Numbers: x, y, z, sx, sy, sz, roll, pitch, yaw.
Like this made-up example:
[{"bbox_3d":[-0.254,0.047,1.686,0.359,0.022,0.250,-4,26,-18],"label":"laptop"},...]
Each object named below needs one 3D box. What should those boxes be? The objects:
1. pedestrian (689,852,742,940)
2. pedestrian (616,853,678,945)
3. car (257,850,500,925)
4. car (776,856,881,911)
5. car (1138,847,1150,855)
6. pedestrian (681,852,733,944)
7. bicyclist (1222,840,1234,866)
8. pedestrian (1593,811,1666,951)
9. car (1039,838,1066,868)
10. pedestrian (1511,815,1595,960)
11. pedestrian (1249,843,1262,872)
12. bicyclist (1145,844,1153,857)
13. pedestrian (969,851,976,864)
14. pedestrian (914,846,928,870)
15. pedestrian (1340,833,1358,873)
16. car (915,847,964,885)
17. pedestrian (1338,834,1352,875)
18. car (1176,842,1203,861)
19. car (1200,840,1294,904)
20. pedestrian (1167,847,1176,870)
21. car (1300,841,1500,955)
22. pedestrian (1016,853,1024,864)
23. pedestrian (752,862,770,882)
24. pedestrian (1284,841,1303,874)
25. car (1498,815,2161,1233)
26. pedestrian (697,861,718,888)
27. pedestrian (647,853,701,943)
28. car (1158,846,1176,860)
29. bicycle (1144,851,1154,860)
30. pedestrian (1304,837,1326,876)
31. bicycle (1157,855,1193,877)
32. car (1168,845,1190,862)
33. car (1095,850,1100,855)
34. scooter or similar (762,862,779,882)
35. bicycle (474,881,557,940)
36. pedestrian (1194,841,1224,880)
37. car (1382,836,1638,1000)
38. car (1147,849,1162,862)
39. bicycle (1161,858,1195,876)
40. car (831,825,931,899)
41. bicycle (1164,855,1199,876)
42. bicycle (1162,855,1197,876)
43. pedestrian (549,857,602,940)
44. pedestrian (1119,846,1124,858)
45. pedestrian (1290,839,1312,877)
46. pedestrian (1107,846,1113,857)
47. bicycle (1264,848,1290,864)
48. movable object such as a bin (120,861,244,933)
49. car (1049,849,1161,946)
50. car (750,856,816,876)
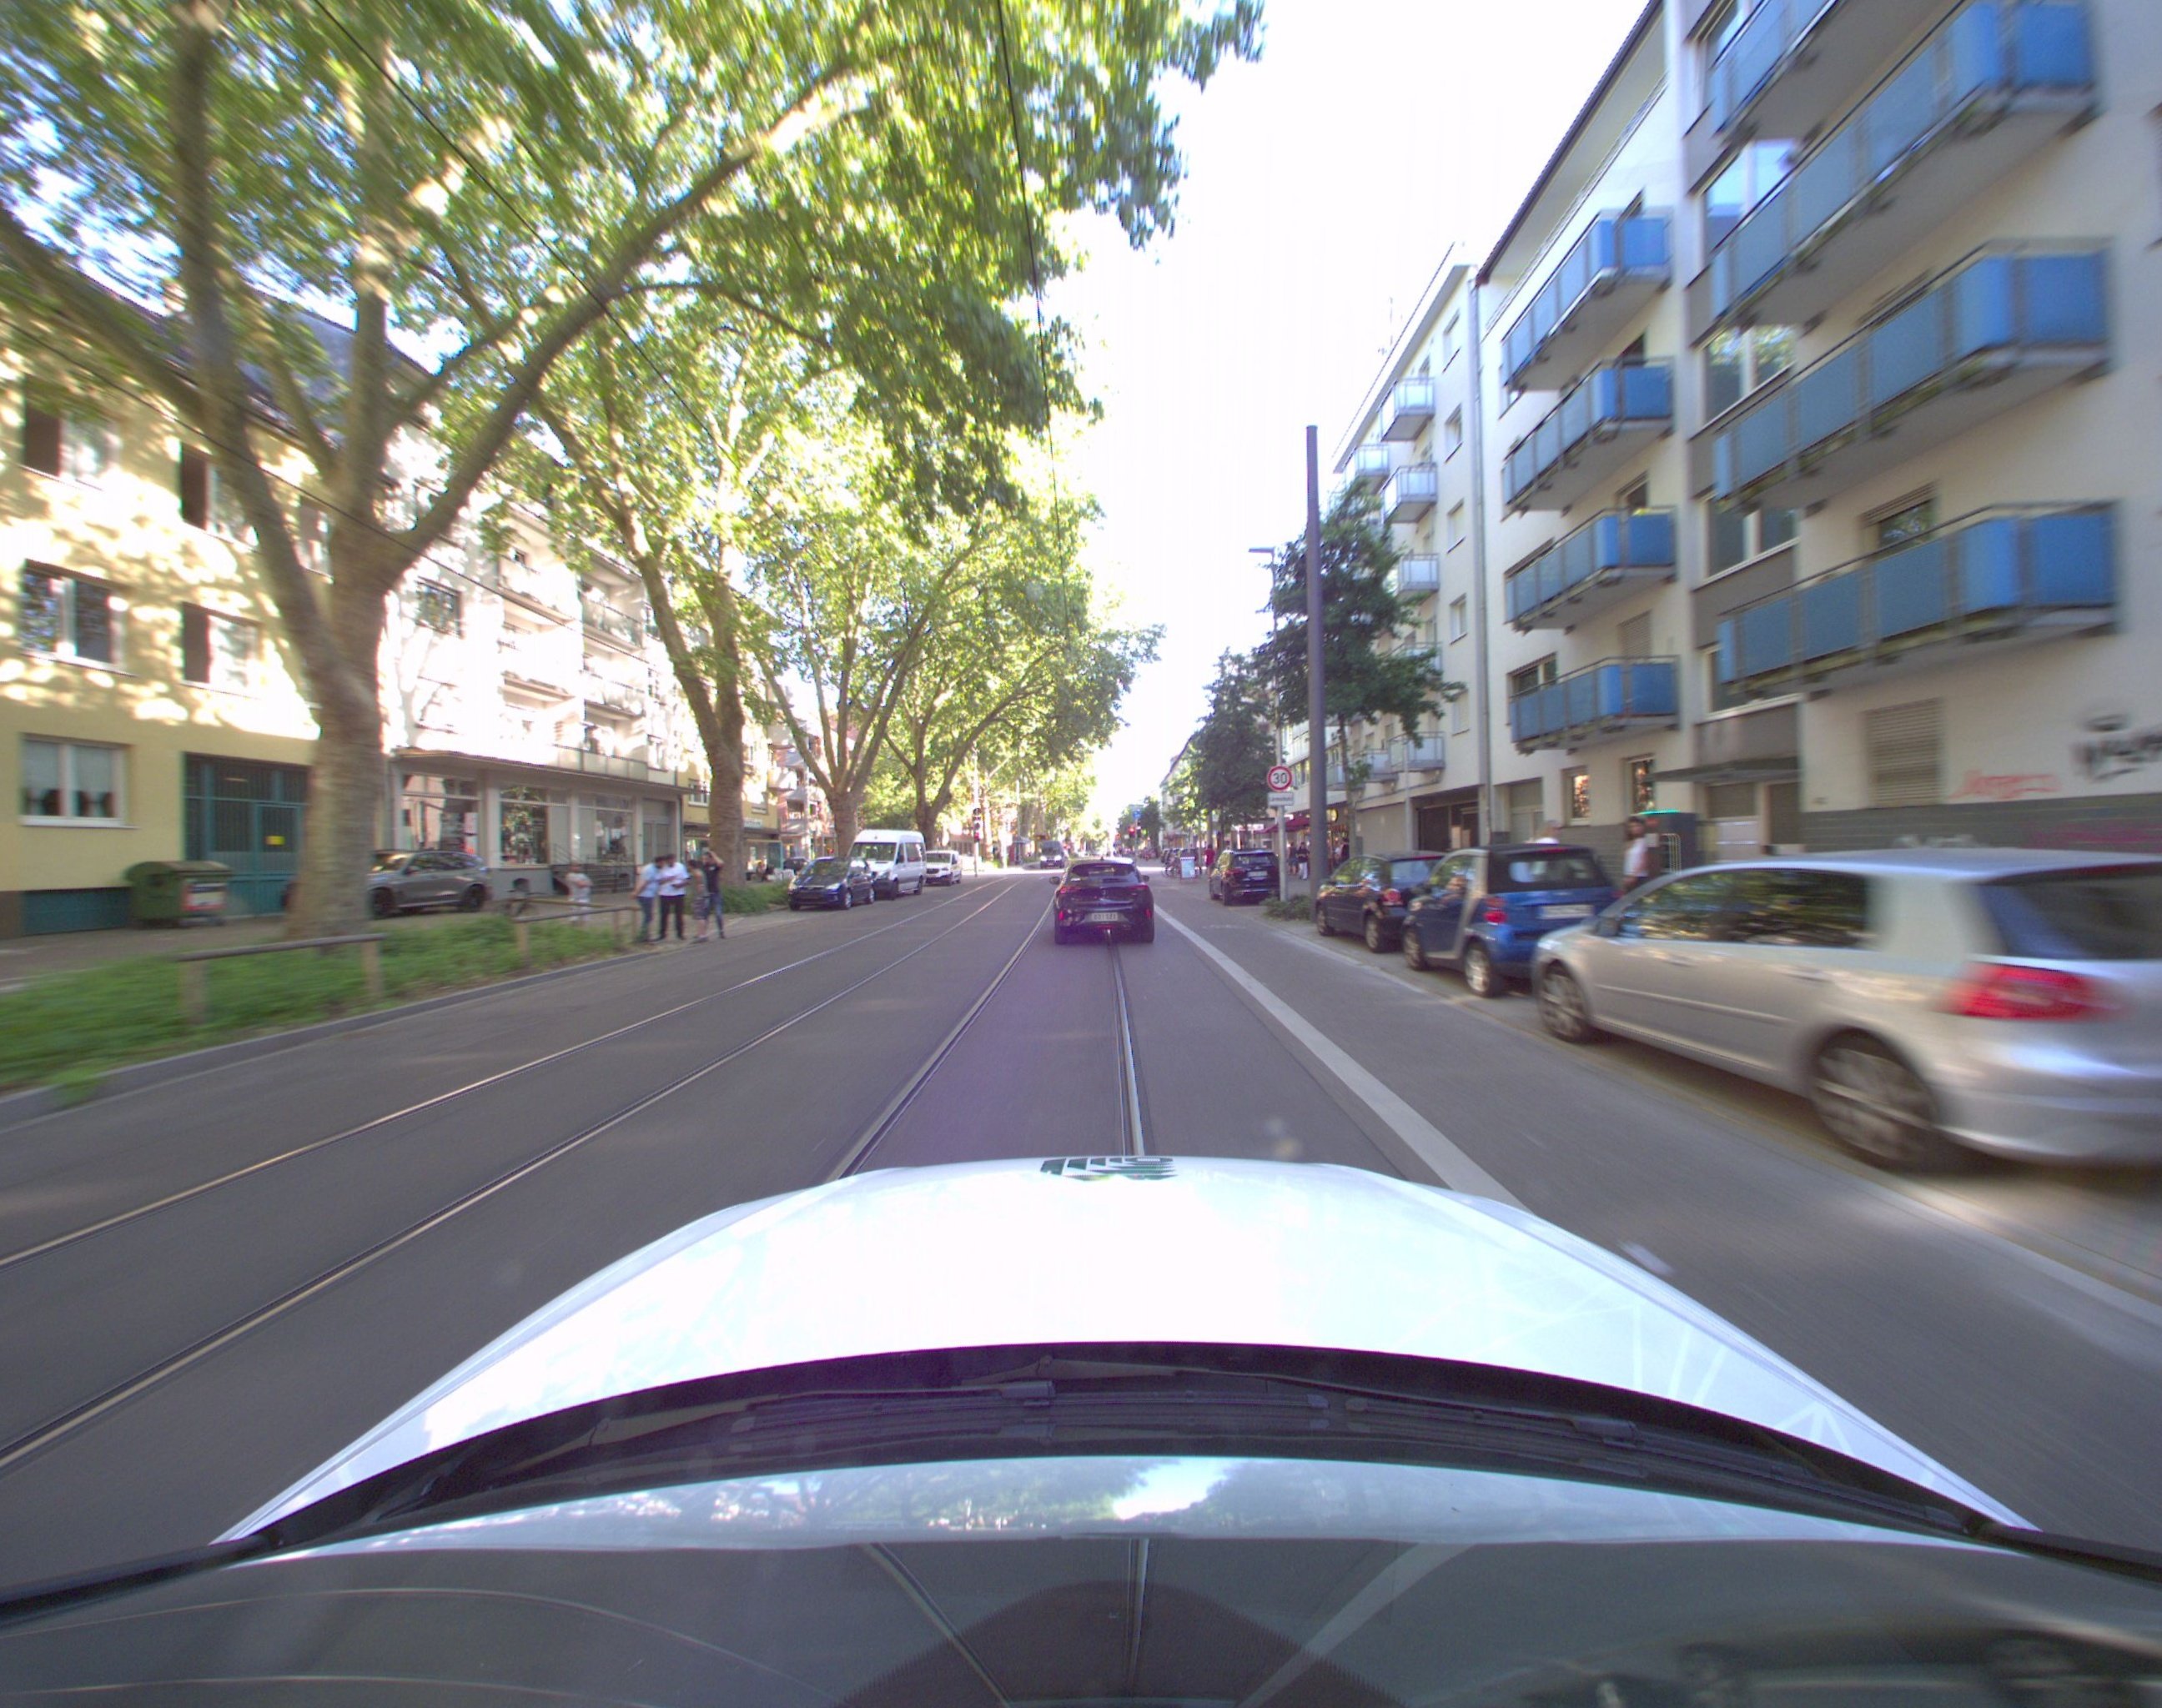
[{"bbox_3d":[-7.526,0.847,16.802,0.709,1.777,0.771,-1,0,1],"label":"pedestrian"},{"bbox_3d":[-8.353,0.853,15.703,0.764,1.735,0.718,-1,0,5],"label":"pedestrian"},{"bbox_3d":[-18.088,0.784,21.376,1.986,1.733,4.900,-1,0,2],"label":"car"},{"bbox_3d":[-7.891,0.865,25.865,1.910,1.562,4.284,-1,0,1],"label":"car"},{"bbox_3d":[11.573,-0.556,149.453,1.986,1.486,4.002,-1,0,2],"label":"car"},{"bbox_3d":[-7.288,0.841,15.893,0.769,1.735,0.711,-1,-1,-12],"label":"pedestrian"},{"bbox_3d":[9.897,-0.062,54.900,0.674,1.717,0.966,-1,0,4],"label":"bicyclist"},{"bbox_3d":[7.485,0.357,11.131,0.535,1.852,0.665,-1,0,4],"label":"pedestrian"},{"bbox_3d":[-2.700,-0.095,78.879,2.106,2.738,6.117,-2,0,2],"label":"car"},{"bbox_3d":[6.328,0.437,10.940,0.475,1.851,0.662,-7,0,-9],"label":"pedestrian"},{"bbox_3d":[11.064,0.219,51.730,0.588,1.784,0.995,-1,0,0],"label":"pedestrian"},{"bbox_3d":[8.799,-0.440,105.759,0.859,1.759,1.052,-1,0,-5],"label":"bicyclist"},{"bbox_3d":[-13.341,0.441,100.233,0.732,1.672,0.861,-1,0,2],"label":"pedestrian"},{"bbox_3d":[-12.967,0.316,66.098,0.921,1.835,0.920,-1,2,-2],"label":"pedestrian"},{"bbox_3d":[12.261,-0.041,37.259,0.520,1.805,0.635,-1,-1,45],"label":"pedestrian"},{"bbox_3d":[-7.319,0.591,42.492,1.757,1.850,4.317,-1,0,0],"label":"car"},{"bbox_3d":[11.710,0.011,36.152,0.430,1.796,0.489,-1,-1,0],"label":"pedestrian"},{"bbox_3d":[9.675,-0.204,72.867,1.986,1.615,4.447,-2,0,2],"label":"car"},{"bbox_3d":[4.781,0.484,24.084,1.753,1.587,4.327,-5,0,-1],"label":"car"},{"bbox_3d":[6.211,0.330,55.836,0.548,1.562,0.646,-1,-1,6],"label":"pedestrian"},{"bbox_3d":[4.981,0.596,13.305,1.618,1.481,3.888,-4,0,-1],"label":"car"},{"bbox_3d":[-6.334,0.462,84.125,0.703,1.168,0.659,-3,0,-2],"label":"pedestrian"},{"bbox_3d":[-18.633,1.054,47.419,0.636,1.167,0.679,-1,-1,28],"label":"pedestrian"},{"bbox_3d":[10.908,0.166,41.785,0.677,1.659,0.812,-1,0,-9],"label":"pedestrian"},{"bbox_3d":[4.620,0.621,5.205,1.780,1.537,4.129,-4,0,1],"label":"car"},{"bbox_3d":[-18.362,1.000,40.040,0.667,1.272,0.648,-1,-1,24],"label":"pedestrian"},{"bbox_3d":[-8.095,0.851,16.197,0.761,1.735,0.718,-1,-1,43],"label":"pedestrian"},{"bbox_3d":[10.134,-0.100,96.081,1.850,1.615,4.400,-1,0,2],"label":"car"},{"bbox_3d":[8.807,0.237,105.702,0.859,1.136,2.392,-1,0,-4],"label":"bicycle"},{"bbox_3d":[10.270,0.101,35.786,0.594,1.677,0.934,-4,0,-1],"label":"pedestrian"},{"bbox_3d":[4.944,0.609,42.749,1.809,1.100,0.525,-2,0,0],"label":"bicycle"},{"bbox_3d":[9.596,-0.084,80.118,1.792,1.606,4.417,-1,0,2],"label":"car"},{"bbox_3d":[5.304,-0.592,260.036,1.739,1.544,4.000,-1,0,0],"label":"car"},{"bbox_3d":[-17.895,1.044,46.980,0.636,1.167,0.679,-1,-1,28],"label":"scooter or similar"},{"bbox_3d":[-11.182,1.089,16.078,1.828,1.080,0.572,-1,0,28],"label":"bicycle"},{"bbox_3d":[5.929,0.289,37.740,1.051,1.758,0.869,0,-1,-32],"label":"pedestrian"},{"bbox_3d":[4.768,0.618,9.477,1.439,1.537,2.882,-3,0,1],"label":"car"},{"bbox_3d":[11.762,0.202,130.348,1.986,1.952,4.001,-1,0,1],"label":"car"},{"bbox_3d":[5.343,0.712,44.855,1.810,0.994,0.481,-1,0,-1],"label":"bicycle"},{"bbox_3d":[-7.625,0.300,31.775,2.099,2.577,6.028,-1,0,3],"label":"car"},{"bbox_3d":[5.371,0.621,43.500,1.813,1.100,0.480,-1,0,-7],"label":"bicycle"},{"bbox_3d":[5.312,0.604,44.102,1.813,1.100,0.496,-1,0,-7],"label":"bicycle"},{"bbox_3d":[-10.187,0.877,16.417,0.761,1.610,0.718,-1,-1,43],"label":"pedestrian"},{"bbox_3d":[5.430,-0.223,110.204,0.628,1.576,0.871,1,0,2],"label":"pedestrian"},{"bbox_3d":[9.639,0.162,35.769,0.640,1.637,0.869,-4,0,0],"label":"pedestrian"},{"bbox_3d":[4.621,-0.402,129.255,0.742,1.709,0.768,-1,-1,36],"label":"pedestrian"},{"bbox_3d":[15.325,0.120,63.604,1.909,1.207,0.511,-1,1,-3],"label":"bicycle"},{"bbox_3d":[-19.637,0.908,17.835,1.226,1.502,1.343,-1,0,0],"label":"movable object such as a bin"},{"bbox_3d":[0.385,0.710,15.011,1.754,1.508,3.682,-2,0,0],"label":"car"},{"bbox_3d":[-23.073,0.938,63.258,4.425,1.456,1.996,1,0,-7],"label":"car"}]
